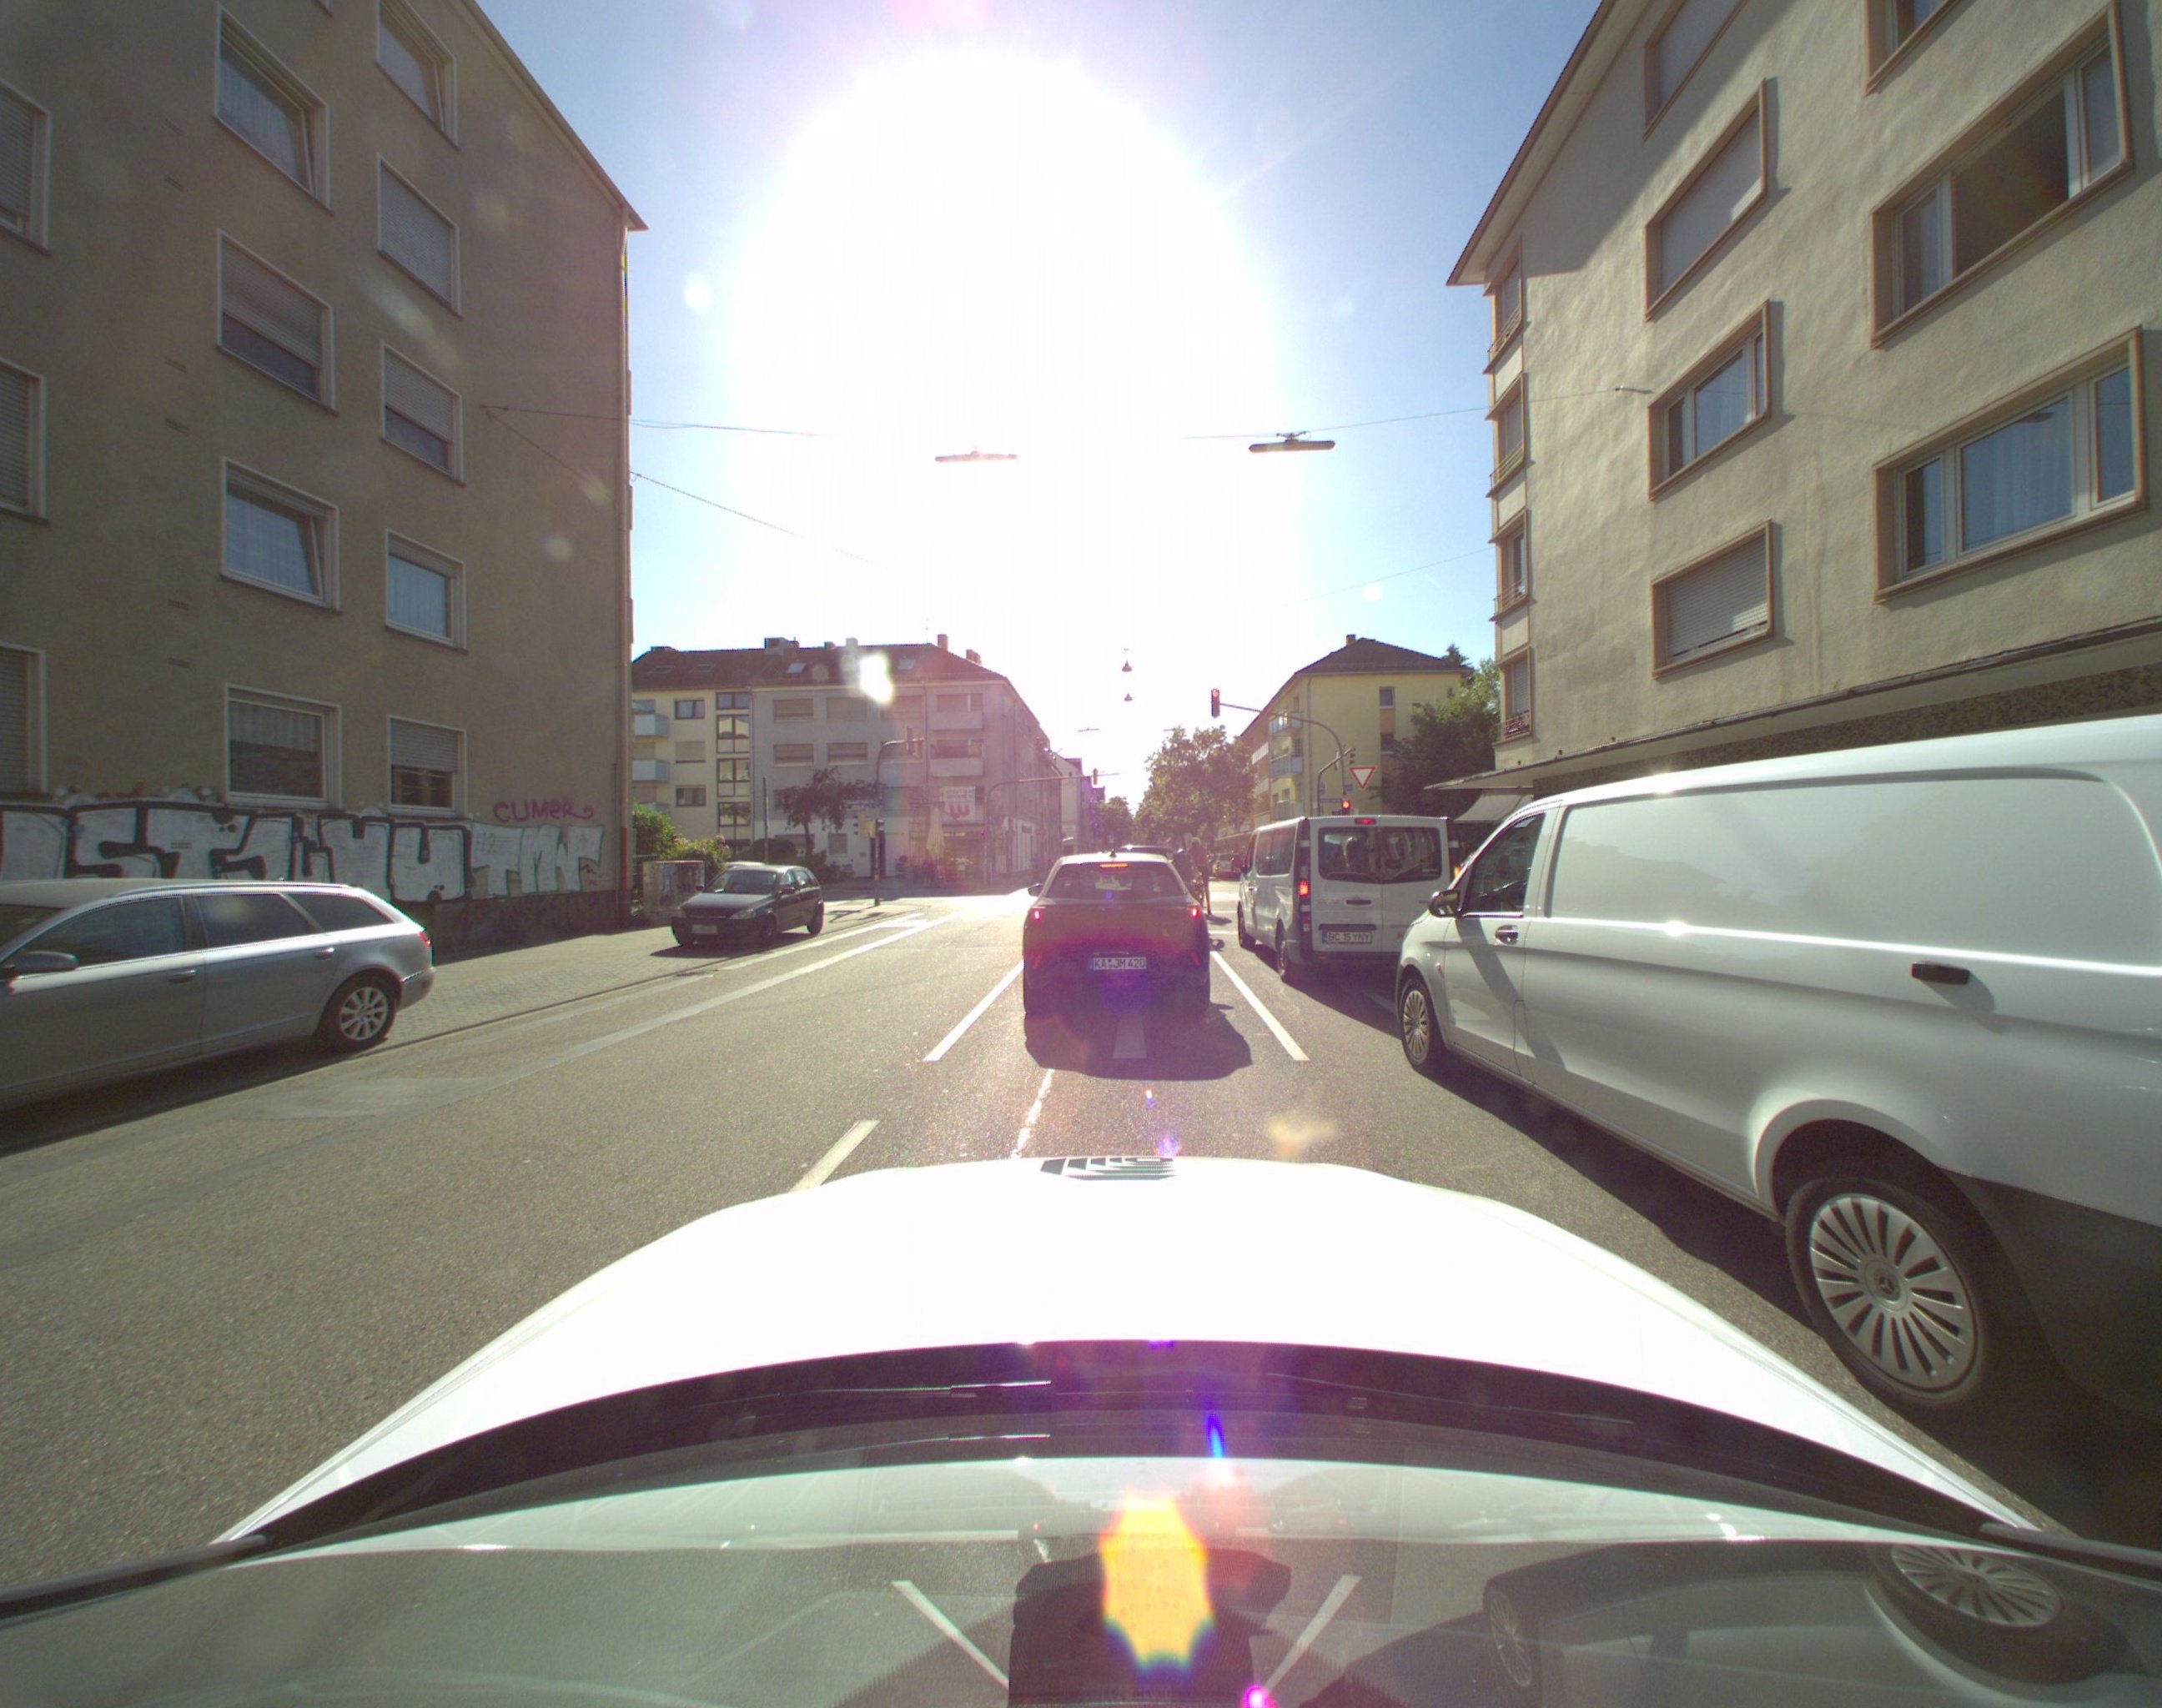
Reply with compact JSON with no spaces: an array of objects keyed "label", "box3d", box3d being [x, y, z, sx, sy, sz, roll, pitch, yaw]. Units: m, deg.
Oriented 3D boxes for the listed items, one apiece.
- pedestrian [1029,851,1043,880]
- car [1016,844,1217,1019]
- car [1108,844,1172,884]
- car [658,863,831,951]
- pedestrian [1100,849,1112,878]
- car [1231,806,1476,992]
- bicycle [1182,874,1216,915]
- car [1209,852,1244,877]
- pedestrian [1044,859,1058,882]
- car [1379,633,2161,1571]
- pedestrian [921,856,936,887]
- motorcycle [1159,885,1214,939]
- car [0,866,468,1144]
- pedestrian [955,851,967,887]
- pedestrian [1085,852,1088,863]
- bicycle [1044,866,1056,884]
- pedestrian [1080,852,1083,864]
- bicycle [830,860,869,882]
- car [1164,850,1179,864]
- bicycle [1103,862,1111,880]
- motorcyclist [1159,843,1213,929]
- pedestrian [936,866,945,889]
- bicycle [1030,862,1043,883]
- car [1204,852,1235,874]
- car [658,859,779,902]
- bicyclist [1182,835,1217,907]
[{"label":"pedestrian","box3d":[-2.556,0.658,46.776,0.704,1.678,0.803,-1,0,1]},{"label":"car","box3d":[0.369,0.684,9.223,1.764,1.530,4.001,-1,0,2]},{"label":"car","box3d":[2.832,0.440,38.250,1.886,1.728,4.094,-1,0,21]},{"label":"car","box3d":[-6.269,0.922,15.655,1.610,1.425,3.713,1,0,3]},{"label":"pedestrian","box3d":[1.438,0.528,46.505,0.677,1.606,0.762,-1,0,1]},{"label":"car","box3d":[3.363,0.474,11.159,1.985,1.979,4.899,0,0,3]},{"label":"bicycle","box3d":[2.921,0.986,20.379,0.575,0.904,2.302,-1,0,2]},{"label":"car","box3d":[8.825,0.603,49.542,1.627,1.433,3.960,-1,0,3]},{"label":"pedestrian","box3d":[-1.732,0.934,46.652,0.704,1.253,0.803,-1,0,1]},{"label":"car","box3d":[3.143,0.510,3.713,1.829,1.869,4.998,2,0,2]},{"label":"pedestrian","box3d":[-7.644,0.887,40.779,0.582,1.521,0.649,-1,0,0]},{"label":"motorcycle","box3d":[1.887,1.028,14.822,0.822,0.845,1.886,-1,0,3]},{"label":"car","box3d":[-6.911,0.881,5.466,1.710,1.465,4.819,2,0,3]},{"label":"pedestrian","box3d":[-6.082,0.750,41.300,0.560,1.775,0.583,-1,0,-5]},{"label":"pedestrian","box3d":[0.838,0.524,117.368,0.400,1.675,0.418,-1,0,3]},{"label":"bicycle","box3d":[-1.755,1.187,46.922,0.520,0.992,2.340,-1,0,2]},{"label":"pedestrian","box3d":[0.075,0.573,117.485,0.400,1.675,0.418,-1,0,3]},{"label":"bicycle","box3d":[-13.212,0.956,46.430,2.102,1.172,0.735,-1,0,-21]},{"label":"car","box3d":[12.825,0.408,115.501,1.847,2.013,3.884,-1,0,3]},{"label":"bicycle","box3d":[1.482,0.968,46.540,0.441,0.992,2.070,-1,0,2]},{"label":"motorcyclist","box3d":[1.900,0.559,14.921,0.860,1.502,1.160,-1,0,2]},{"label":"pedestrian","box3d":[-7.012,1.178,40.768,0.354,1.092,0.462,-1,0,0]},{"label":"bicycle","box3d":[-2.559,1.059,47.043,0.520,1.147,2.284,-1,0,2]},{"label":"car","box3d":[9.211,0.577,54.451,1.627,1.433,4.004,-1,0,3]},{"label":"car","box3d":[-13.717,0.991,30.966,3.757,1.536,1.773,-1,0,4]},{"label":"bicyclist","box3d":[2.922,0.419,20.222,0.687,1.712,1.414,-1,0,2]}]
